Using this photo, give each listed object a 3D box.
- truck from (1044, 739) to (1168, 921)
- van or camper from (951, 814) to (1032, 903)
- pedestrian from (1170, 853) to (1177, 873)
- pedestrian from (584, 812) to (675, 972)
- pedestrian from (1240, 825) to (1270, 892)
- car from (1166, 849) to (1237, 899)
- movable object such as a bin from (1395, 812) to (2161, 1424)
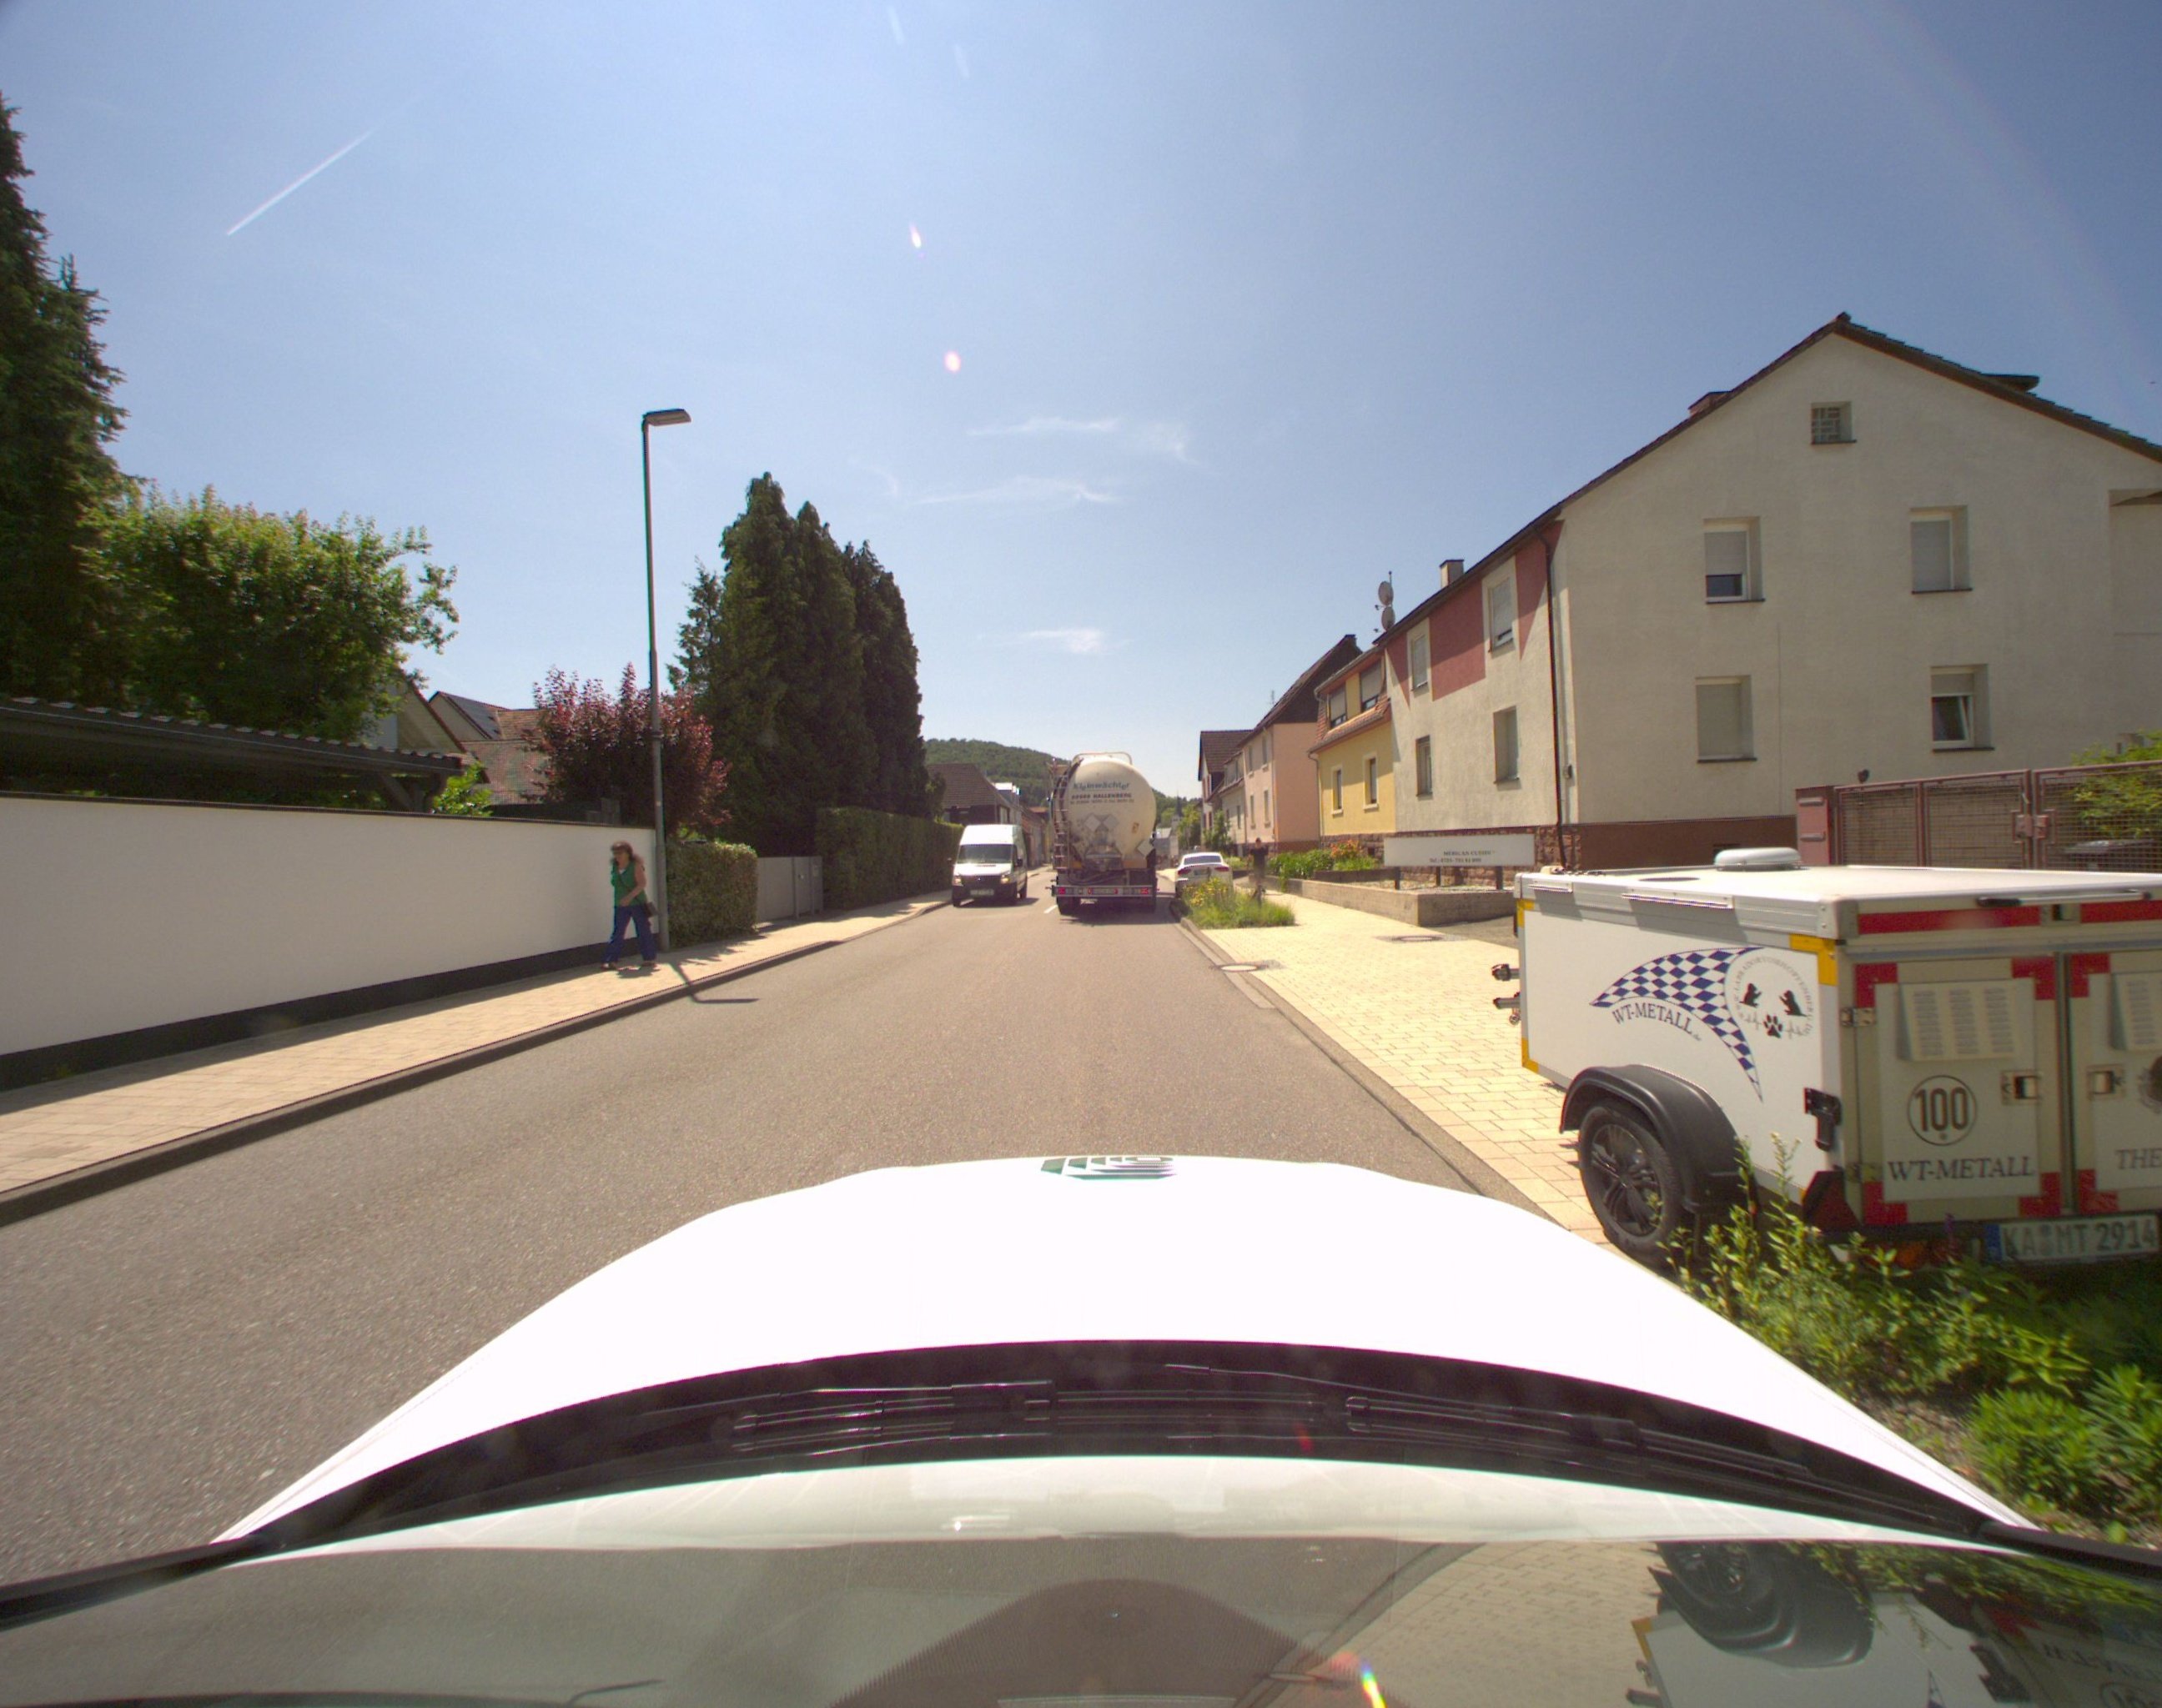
[{"bbox_3d":[0.651,-0.534,23.827,2.740,4.057,10.890,-1,0,1],"label":"truck"},{"bbox_3d":[-2.923,0.190,27.904,2.030,2.714,5.824,0,-1,1],"label":"van or camper"},{"bbox_3d":[8.053,0.789,71.135,0.568,1.694,0.722,0,-1,5],"label":"pedestrian"},{"bbox_3d":[-5.892,0.479,10.675,0.718,2.014,0.804,0,-1,0],"label":"pedestrian"},{"bbox_3d":[5.307,0.143,24.882,0.743,2.014,1.034,0,-1,2],"label":"pedestrian"},{"bbox_3d":[3.894,0.673,27.049,1.749,1.418,4.635,-4,-2,2],"label":"car"},{"bbox_3d":[2.711,0.631,3.460,1.566,1.417,3.041,-2,-1,1],"label":"movable object such as a bin"}]
